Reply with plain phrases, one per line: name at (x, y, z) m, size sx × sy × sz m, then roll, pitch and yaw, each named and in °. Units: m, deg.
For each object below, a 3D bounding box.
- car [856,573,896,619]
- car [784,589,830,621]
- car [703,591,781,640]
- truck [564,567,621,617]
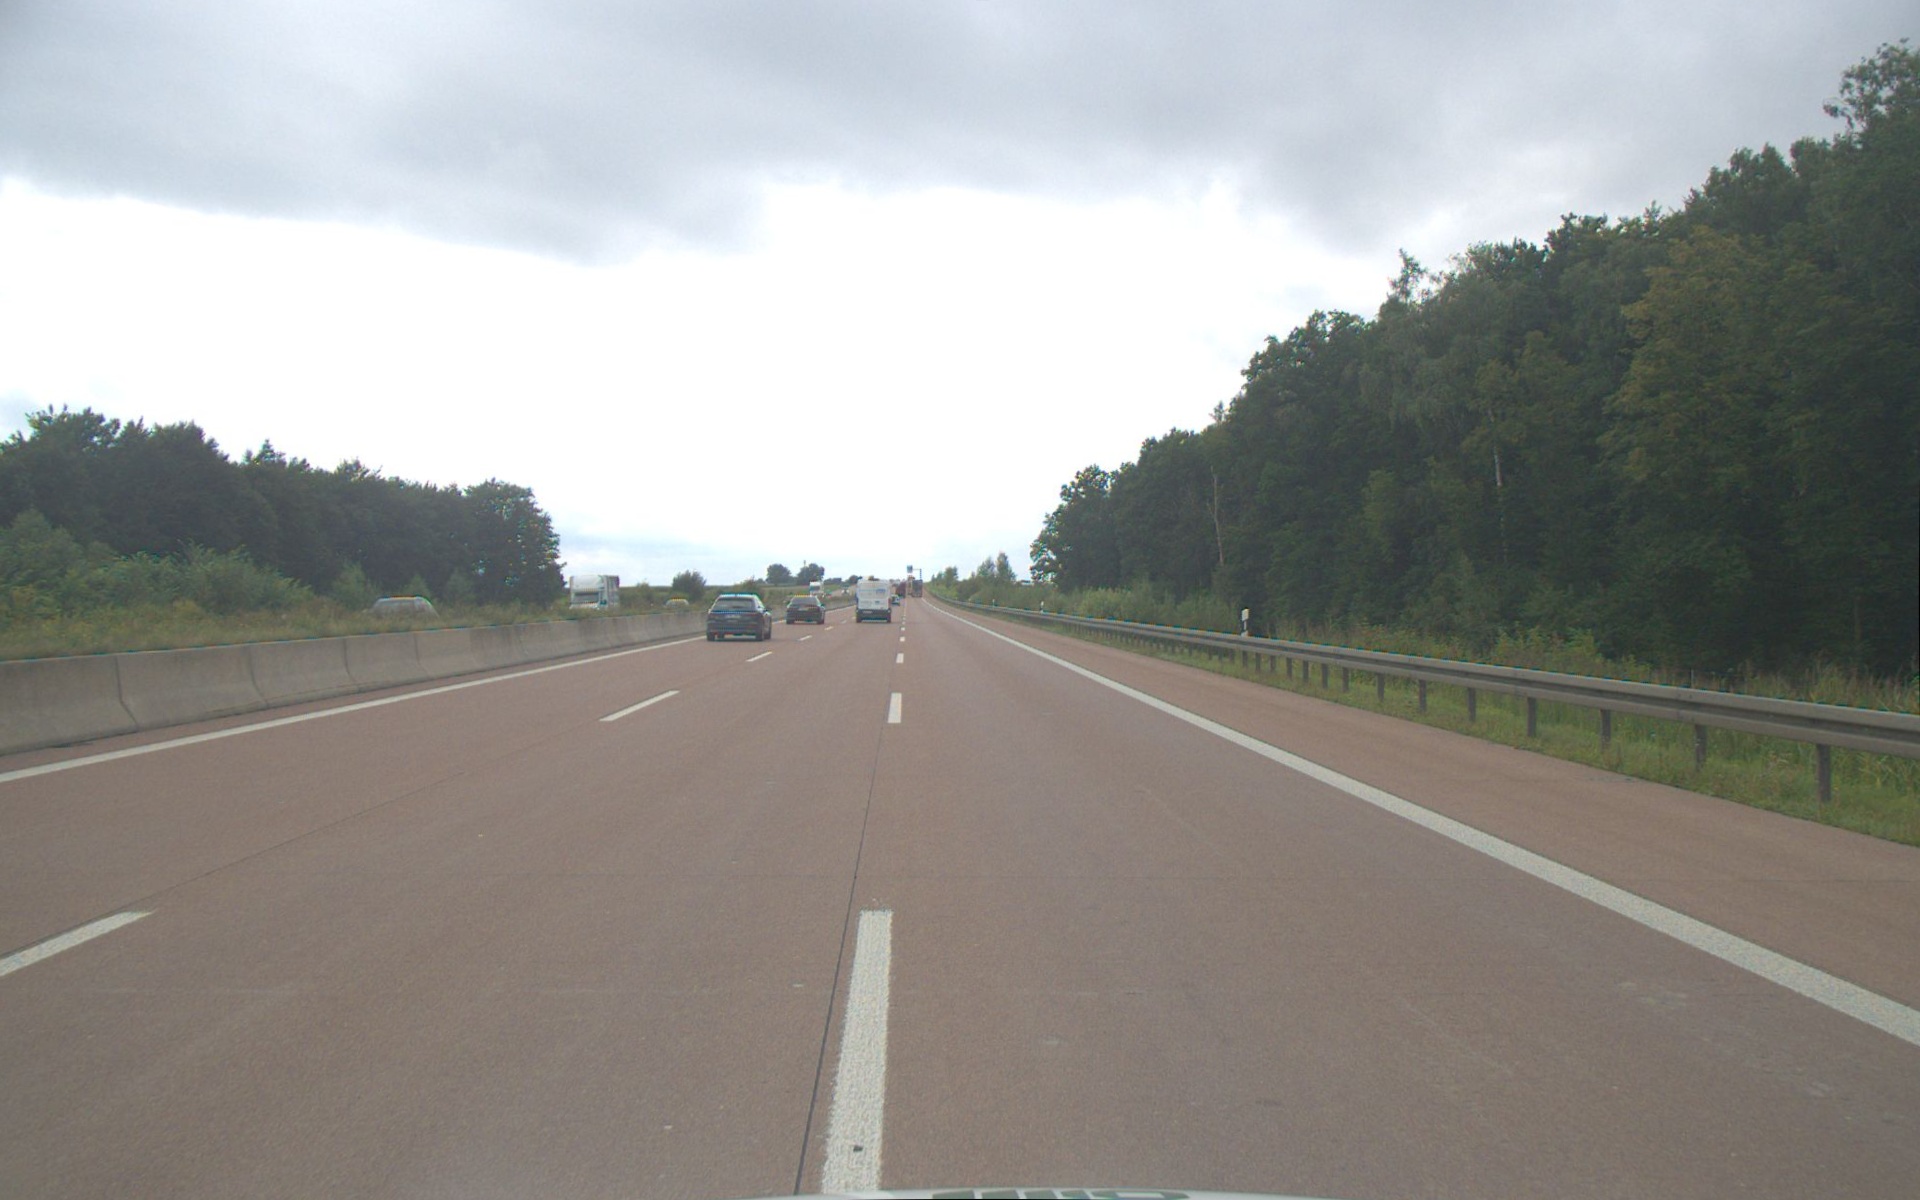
car at (-4.782, -0.253, 95.316) m, size 2.094 × 2.550 × 7.130 m, roll 0°, pitch 1°, yaw -1°
car at (-8.025, 0.246, 87.095) m, size 2.043 × 1.577 × 5.672 m, roll 1°, pitch 1°, yaw -2°
car at (-7.176, 0.476, 54.875) m, size 2.017 × 1.517 × 5.451 m, roll 1°, pitch 0°, yaw -2°
truck at (-24.797, -0.539, 111.881) m, size 2.309 × 3.153 × 7.478 m, roll 2°, pitch 0°, yaw -2°
